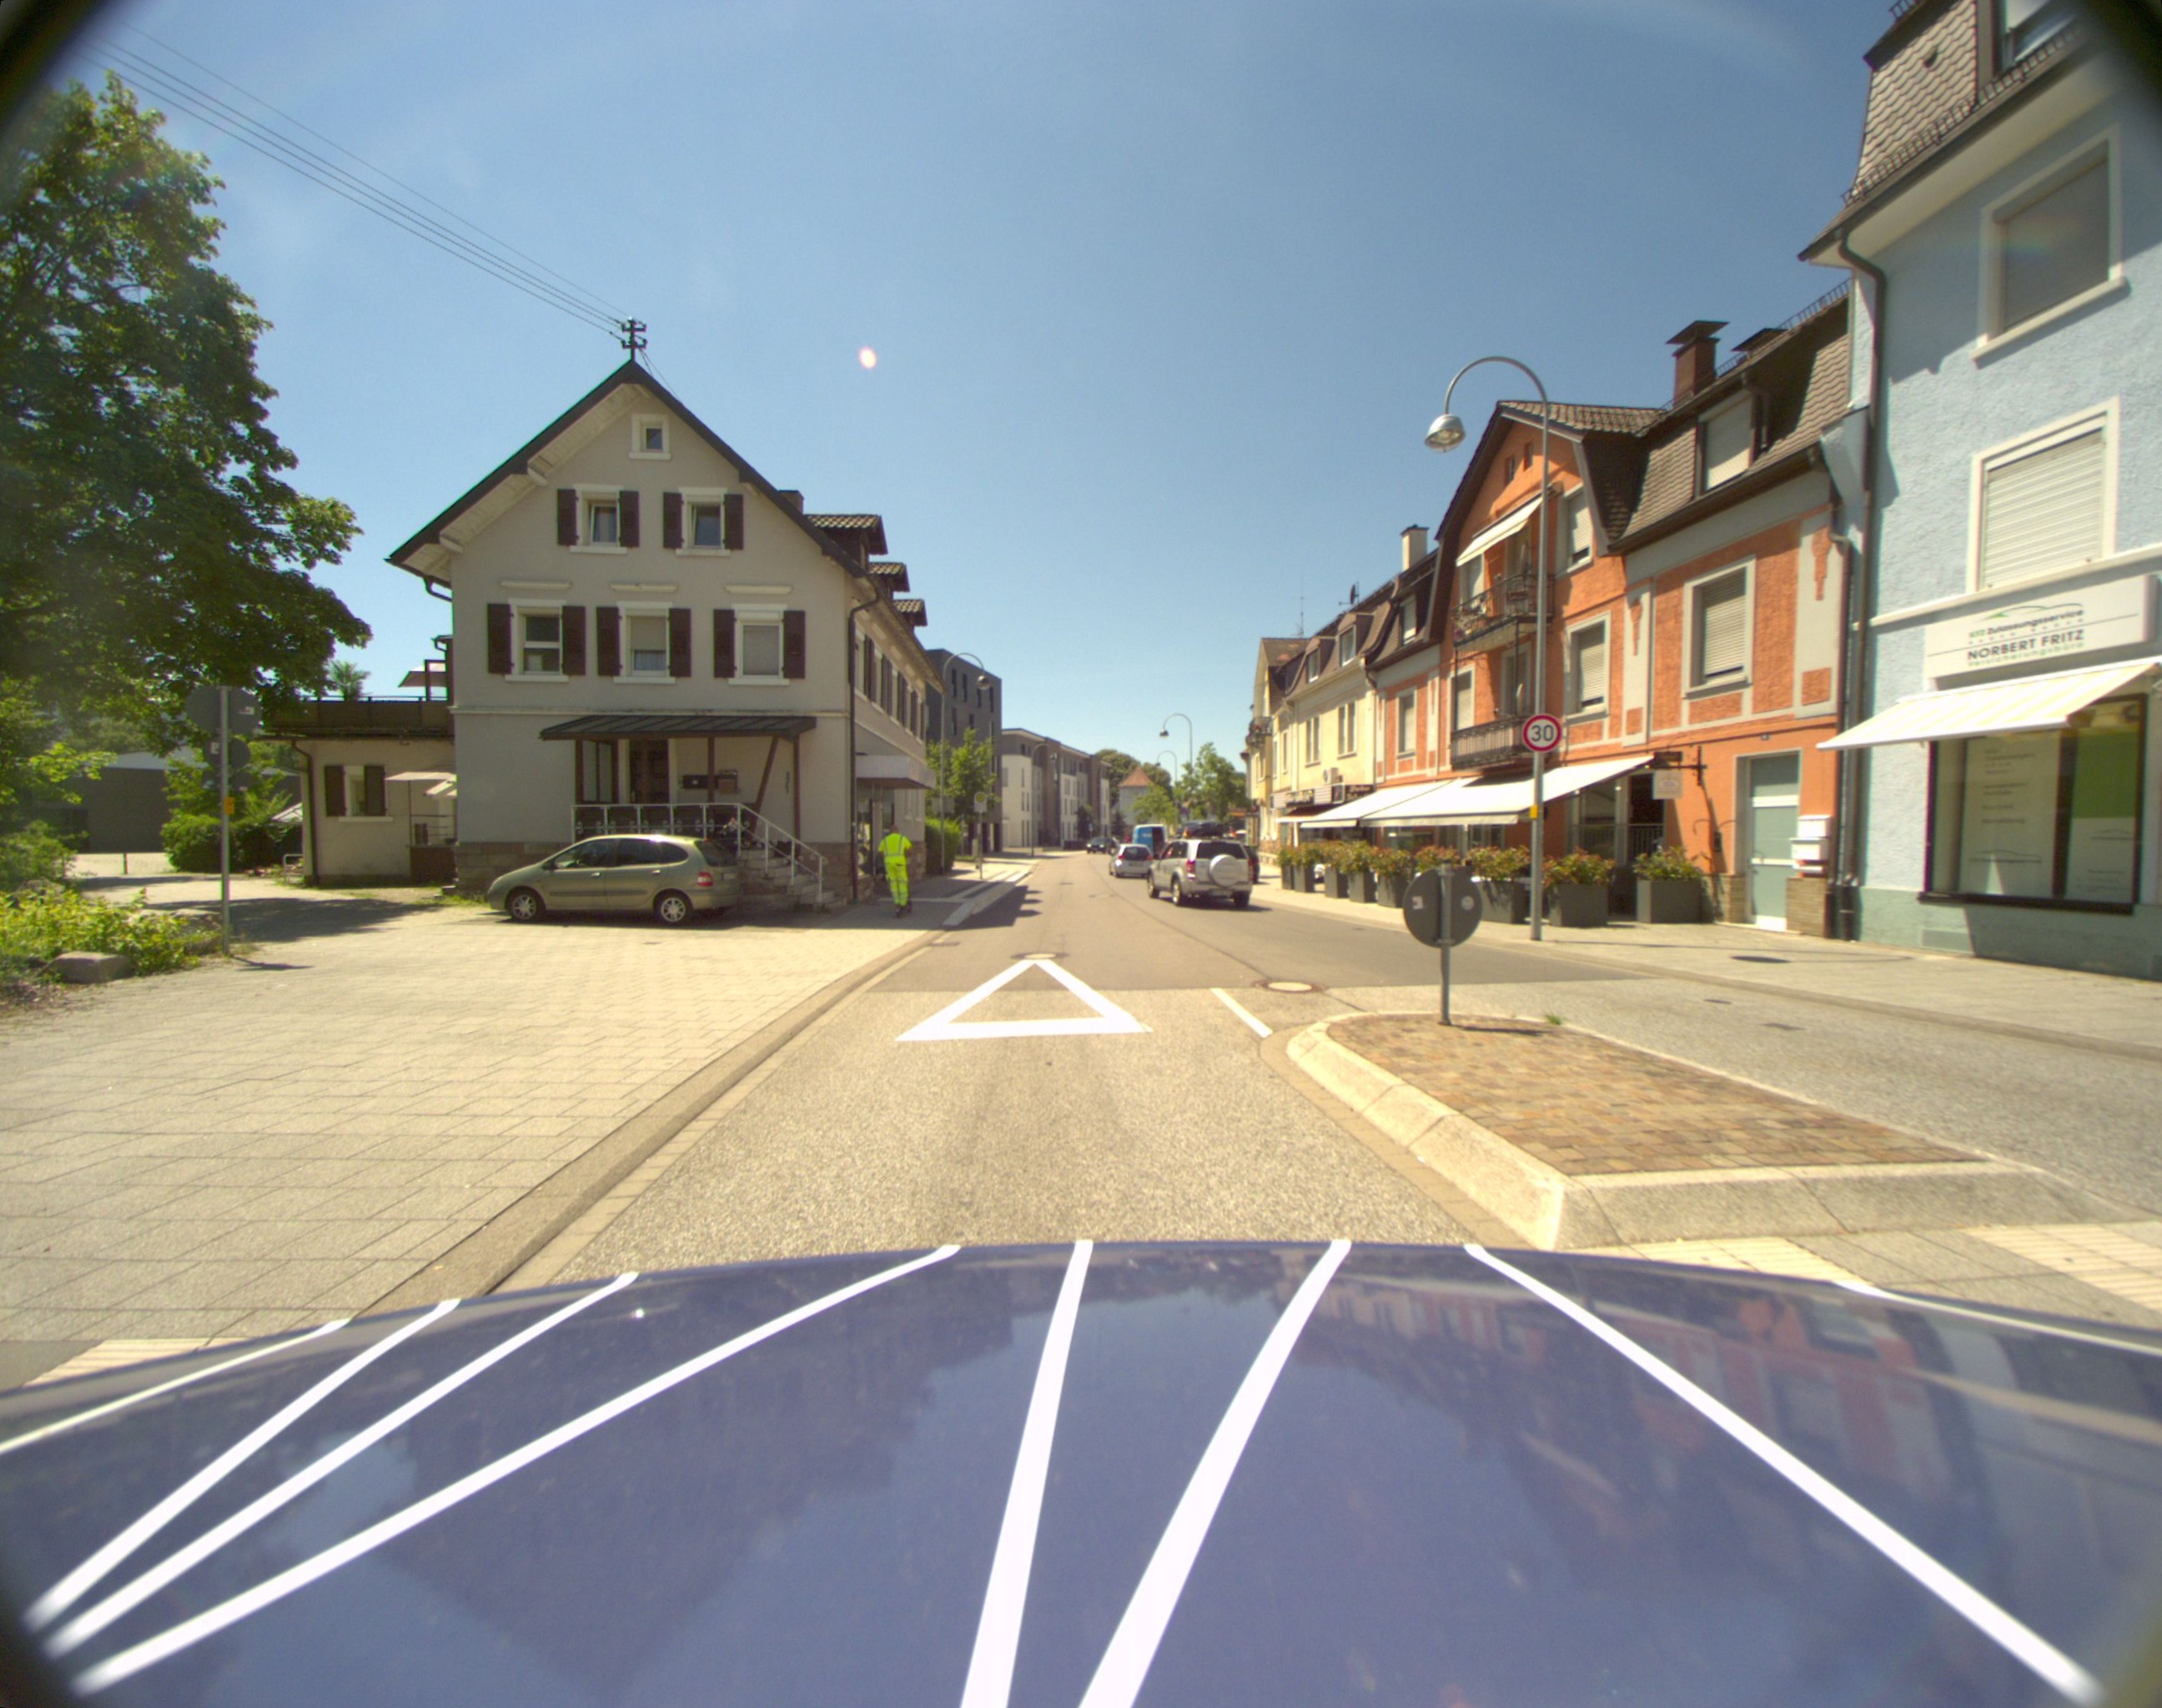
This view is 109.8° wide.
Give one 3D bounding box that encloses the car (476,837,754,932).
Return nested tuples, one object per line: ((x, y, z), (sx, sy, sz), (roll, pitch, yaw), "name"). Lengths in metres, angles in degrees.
((-8.448, 0.526, 14.052), (3.997, 1.587, 1.794), (1, 1, -1), "car")

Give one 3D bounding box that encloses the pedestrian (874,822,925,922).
((-3.759, 0.354, 15.802), (0.921, 2.019, 0.899), (0, 2, -8), "pedestrian")

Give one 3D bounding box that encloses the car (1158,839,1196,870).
((5.233, 0.007, 41.764), (1.682, 1.537, 3.593), (-2, 2, 1), "car")

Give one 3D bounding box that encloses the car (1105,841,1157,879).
((2.127, 0.221, 33.206), (1.683, 1.450, 3.591), (1, 2, -6), "car")

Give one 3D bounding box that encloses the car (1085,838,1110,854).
((1.723, -0.889, 80.029), (1.751, 1.537, 3.597), (-1, 2, 16), "car")

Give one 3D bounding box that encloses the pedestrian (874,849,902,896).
((-5.341, 0.504, 21.067), (0.685, 1.278, 0.580), (0, 2, -6), "pedestrian")

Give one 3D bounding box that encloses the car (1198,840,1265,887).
((5.492, 0.303, 28.144), (1.682, 1.537, 3.945), (-2, 2, 1), "car")

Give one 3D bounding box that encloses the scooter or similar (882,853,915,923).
((-3.813, 0.689, 15.911), (0.527, 1.365, 1.346), (0, 2, -8), "scooter or similar")

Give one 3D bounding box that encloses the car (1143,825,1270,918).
((3.057, 0.336, 19.610), (1.931, 2.096, 4.445), (1, 2, -8), "car")

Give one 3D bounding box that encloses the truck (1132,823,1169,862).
((4.498, -0.793, 49.745), (1.960, 2.357, 4.335), (-2, 2, 1), "truck")

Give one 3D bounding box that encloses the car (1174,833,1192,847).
((11.635, -1.618, 86.211), (1.680, 1.537, 3.596), (-1, 2, 12), "car")
